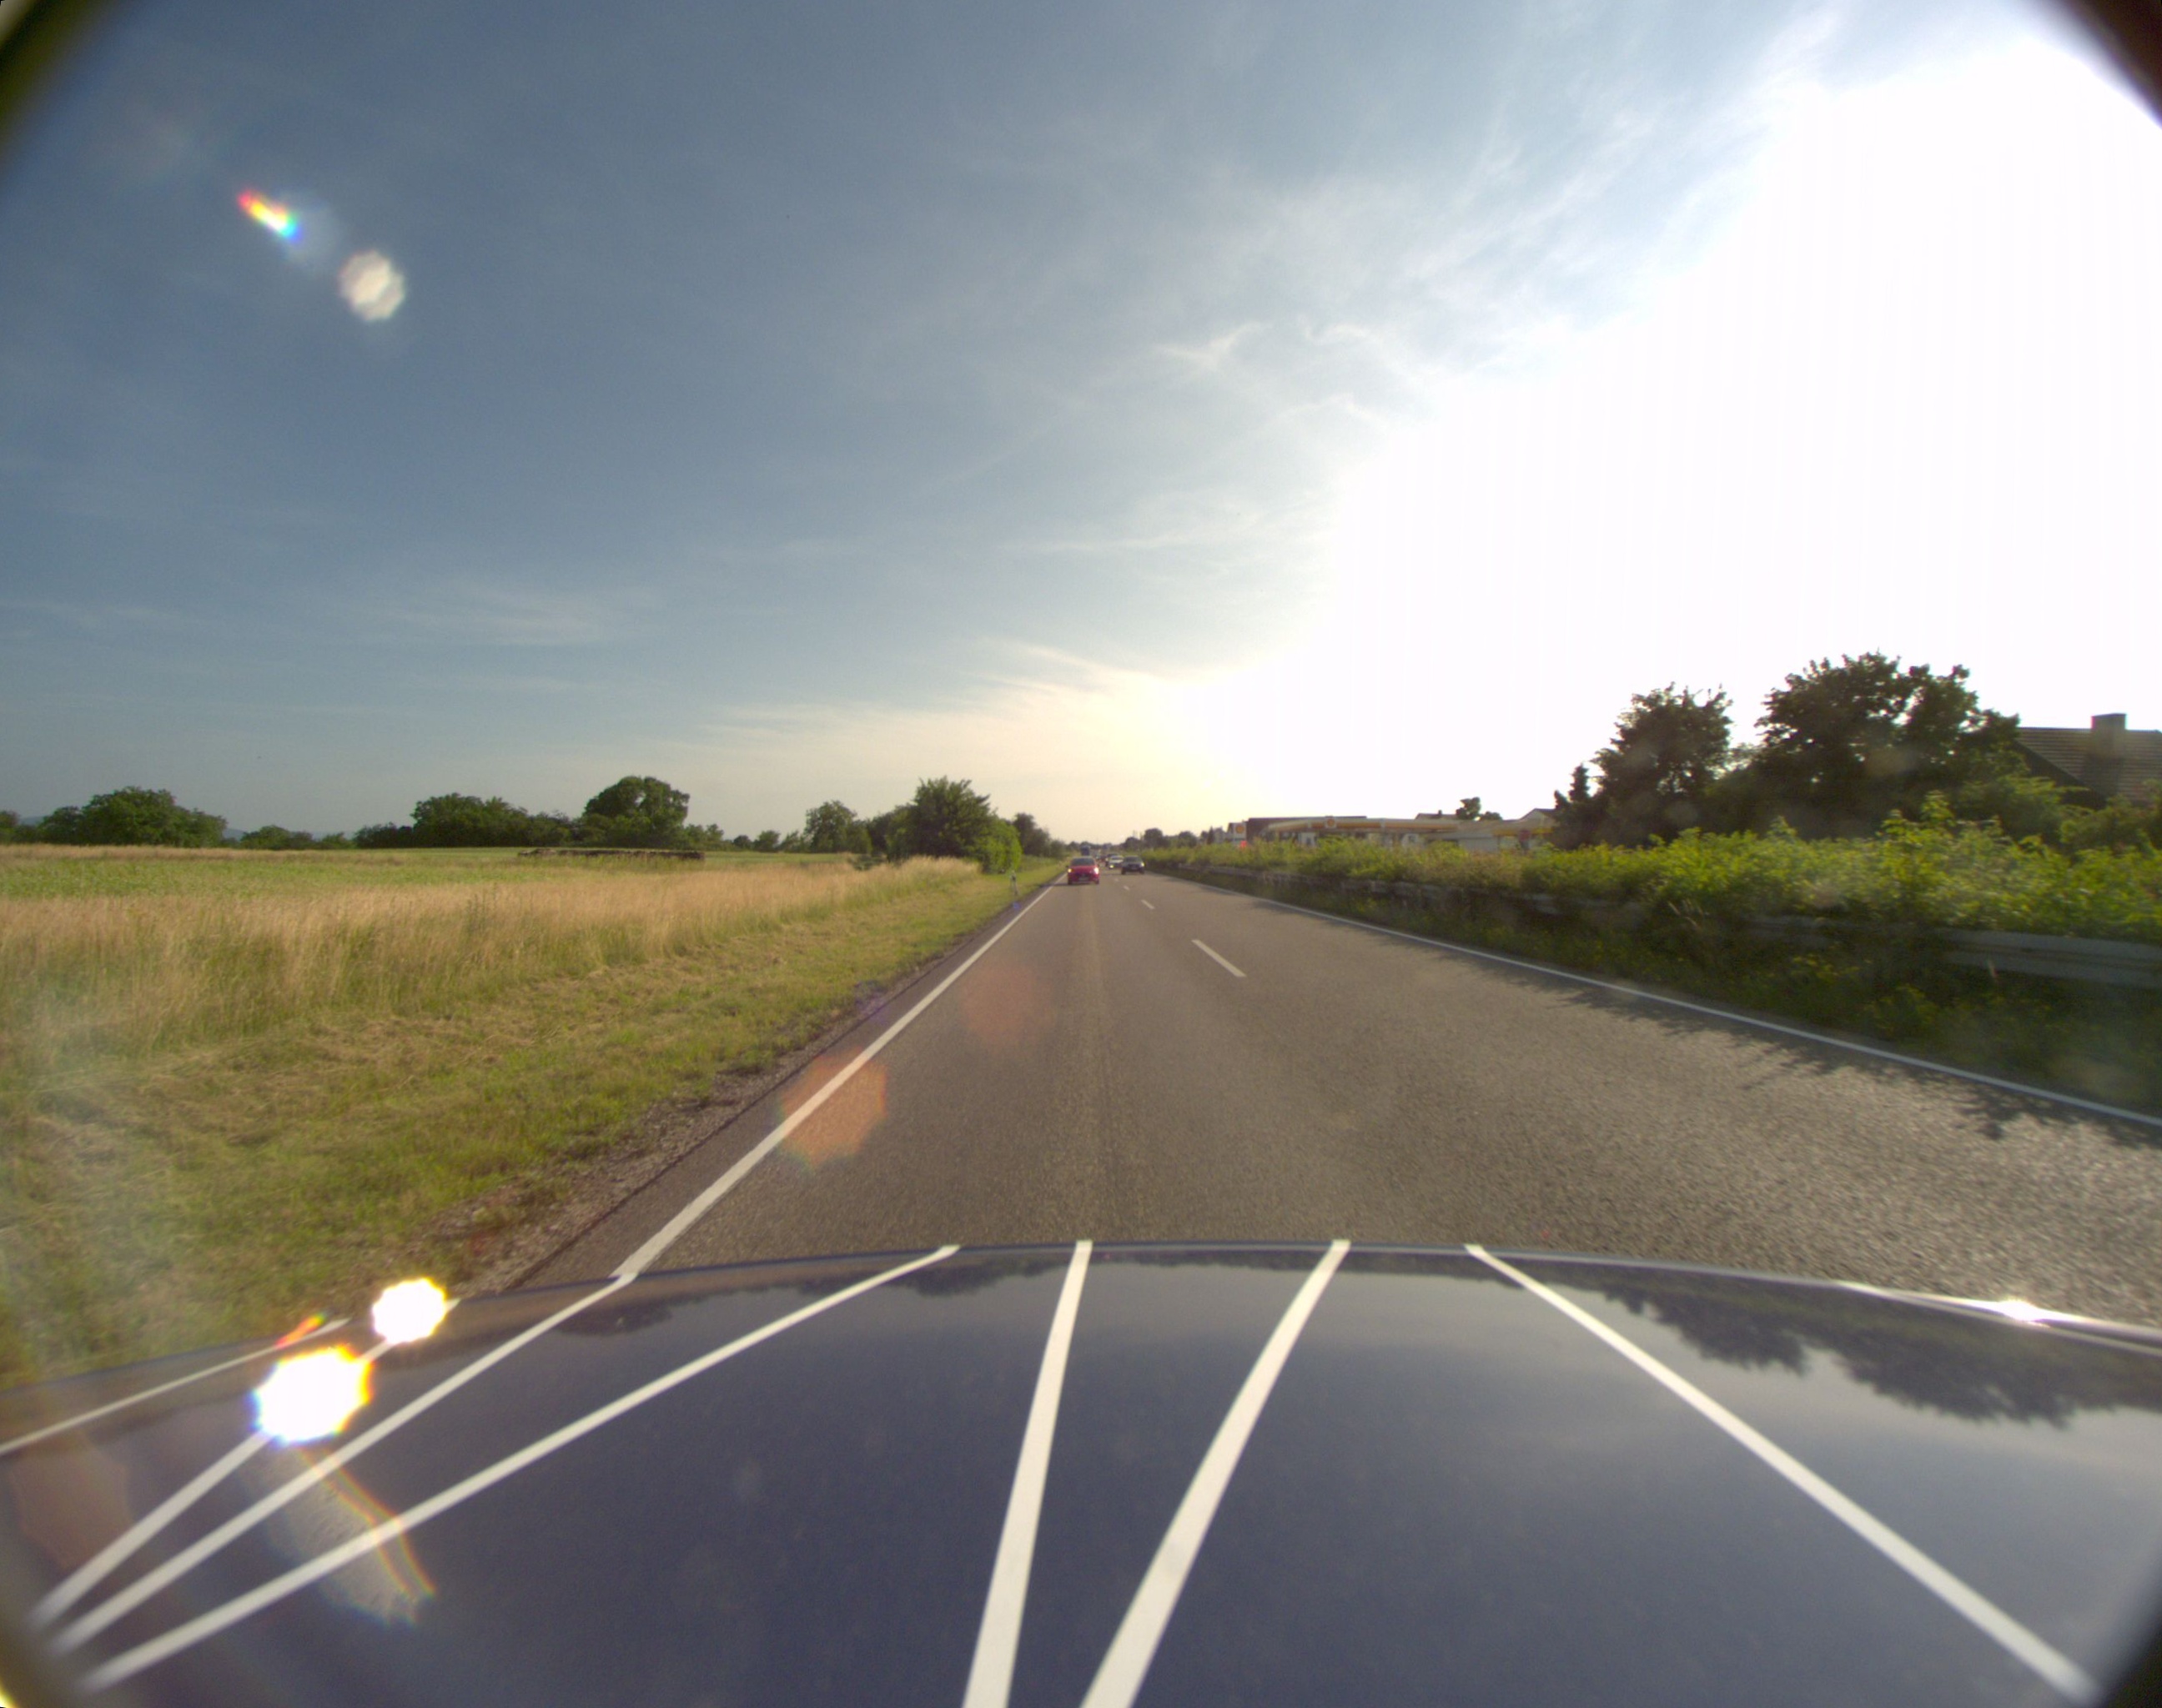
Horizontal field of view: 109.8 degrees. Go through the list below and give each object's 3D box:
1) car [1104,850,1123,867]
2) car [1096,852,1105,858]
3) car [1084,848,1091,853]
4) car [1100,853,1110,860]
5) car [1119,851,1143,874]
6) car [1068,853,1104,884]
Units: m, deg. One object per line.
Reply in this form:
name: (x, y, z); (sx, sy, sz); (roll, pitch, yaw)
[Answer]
car: (3.611, 0.460, 84.665); (1.998, 1.762, 4.000); (-2, 1, 2)
car: (4.805, 0.210, 188.178); (1.998, 1.412, 4.000); (-2, 1, 2)
car: (1.920, -0.949, 216.158); (1.998, 1.412, 4.000); (-2, 1, 2)
car: (5.084, 0.434, 158.444); (1.998, 1.412, 4.000); (-2, 1, 2)
car: (3.989, 0.627, 60.713); (1.693, 1.695, 4.000); (-2, 1, 1)
car: (0.322, 0.757, 42.260); (1.821, 1.565, 4.000); (-2, 1, 2)
